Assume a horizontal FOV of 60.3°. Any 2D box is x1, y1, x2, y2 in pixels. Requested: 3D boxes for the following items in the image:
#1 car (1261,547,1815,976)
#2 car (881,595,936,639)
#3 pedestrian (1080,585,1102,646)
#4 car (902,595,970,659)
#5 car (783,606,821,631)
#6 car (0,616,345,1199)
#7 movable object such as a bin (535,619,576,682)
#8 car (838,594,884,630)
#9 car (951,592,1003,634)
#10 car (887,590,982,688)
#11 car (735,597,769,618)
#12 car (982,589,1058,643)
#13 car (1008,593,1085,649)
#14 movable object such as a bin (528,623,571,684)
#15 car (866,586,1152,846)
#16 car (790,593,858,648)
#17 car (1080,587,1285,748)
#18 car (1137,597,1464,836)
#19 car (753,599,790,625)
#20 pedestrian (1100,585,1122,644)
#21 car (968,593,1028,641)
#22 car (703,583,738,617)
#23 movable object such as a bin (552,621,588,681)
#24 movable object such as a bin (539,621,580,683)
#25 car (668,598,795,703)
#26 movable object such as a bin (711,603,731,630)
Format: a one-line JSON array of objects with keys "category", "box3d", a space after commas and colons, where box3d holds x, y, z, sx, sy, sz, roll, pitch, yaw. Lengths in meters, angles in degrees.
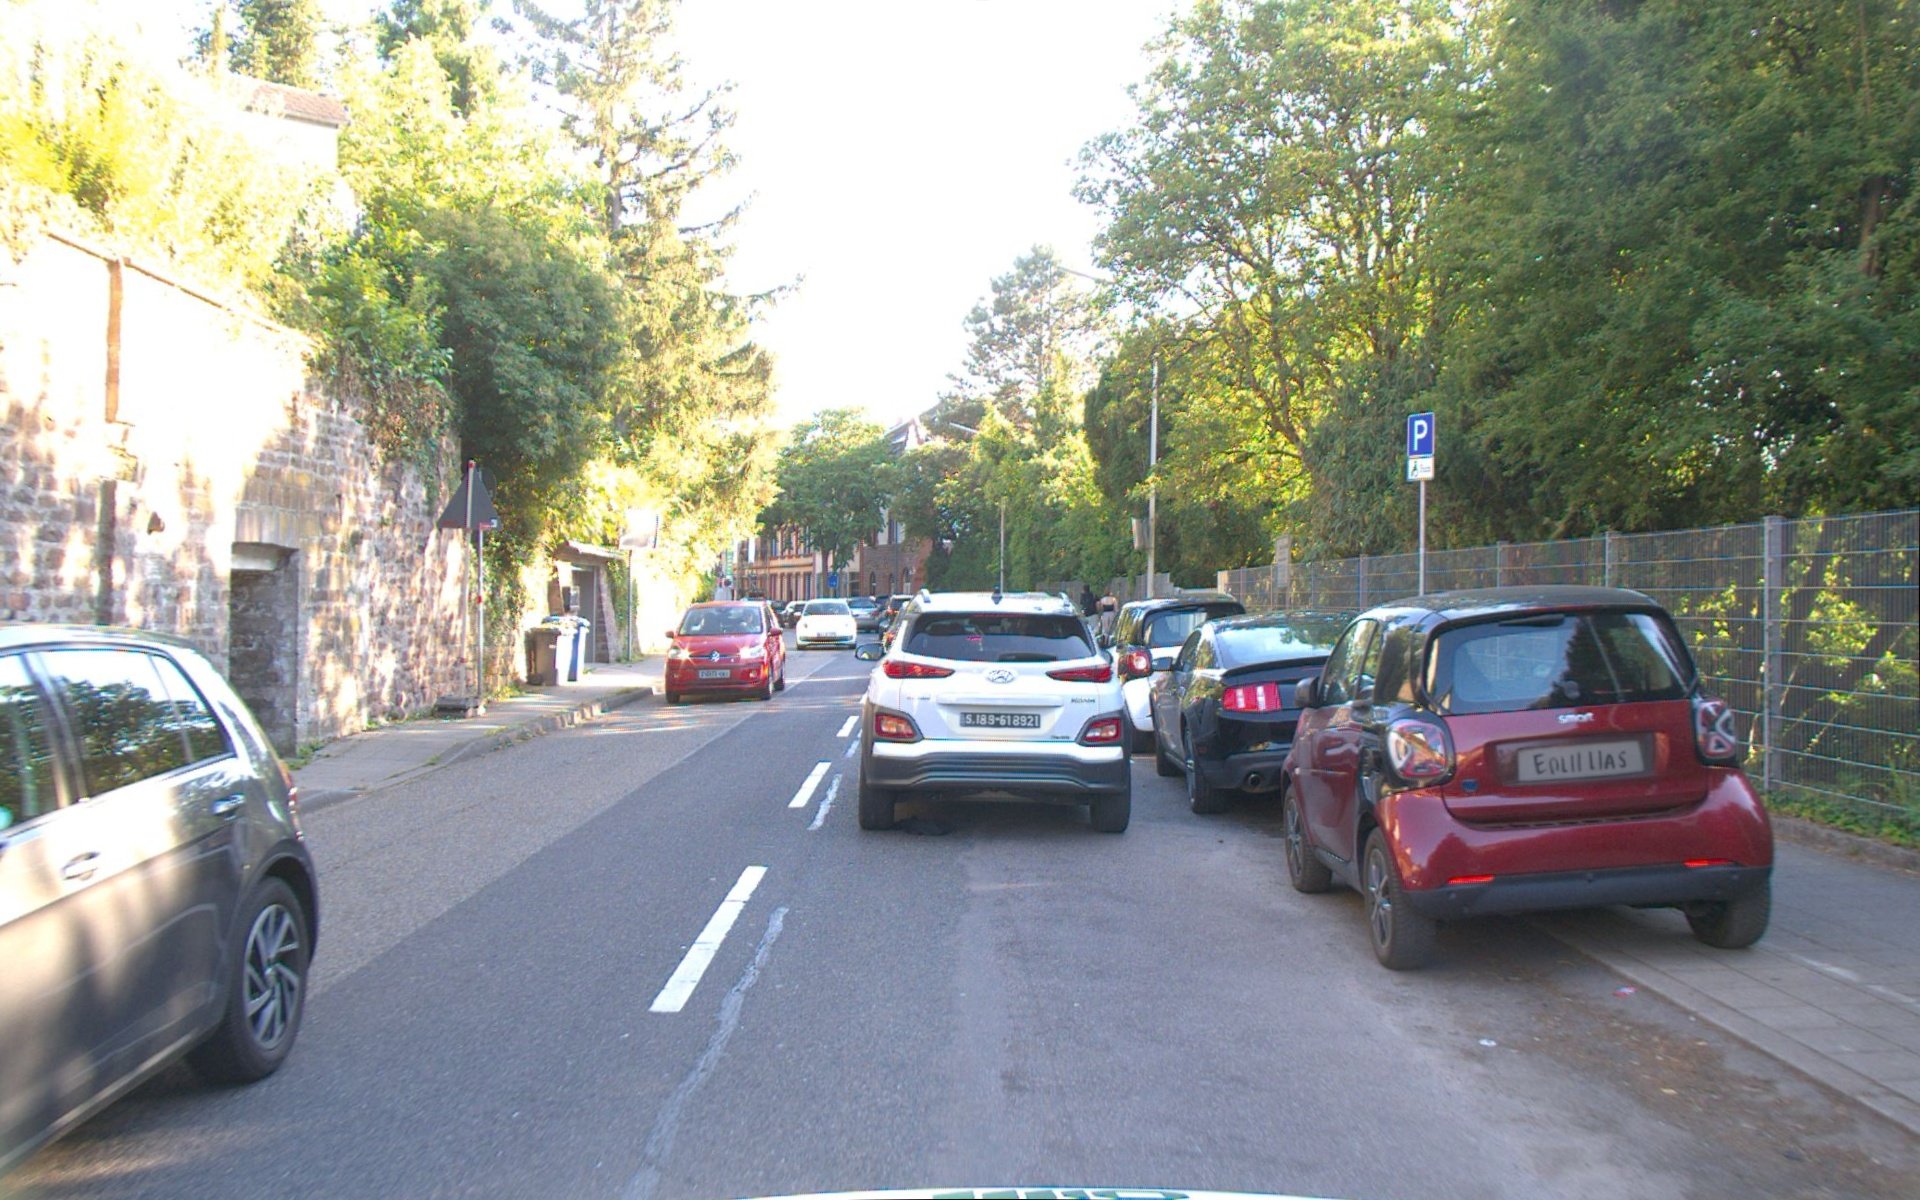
[{"category": "car", "box3d": [2.575, 0.653, 8.060, 1.619, 1.591, 2.872, -4, 0, 1]}, {"category": "car", "box3d": [-1.835, 0.577, 58.235, 1.563, 1.486, 3.092, 0, 0, -10]}, {"category": "pedestrian", "box3d": [3.574, 0.414, 45.165, 0.493, 1.634, 0.491, -2, 0, -1]}, {"category": "car", "box3d": [-0.567, 0.653, 41.383, 1.538, 1.503, 3.548, 1, 0, 1]}, {"category": "car", "box3d": [-8.536, 0.997, 89.153, 1.501, 1.282, 3.347, 0, 0, -15]}, {"category": "car", "box3d": [-2.847, 0.783, 3.642, 1.616, 1.435, 3.929, -1, 0, -2]}, {"category": "movable object such as a bin", "box3d": [-6.591, 0.824, 26.965, 0.562, 1.002, 0.438, 1, -1, -4]}, {"category": "car", "box3d": [-4.500, 0.533, 74.666, 1.562, 1.610, 3.350, 0, 0, -13]}, {"category": "car", "box3d": [0.636, 0.473, 63.126, 1.563, 1.515, 3.598, -2, 0, -6]}, {"category": "car", "box3d": [-0.479, 0.619, 28.169, 1.482, 1.560, 3.545, 0, 0, -3]}, {"category": "car", "box3d": [-13.094, 0.457, 103.924, 1.503, 1.282, 3.343, 0, 0, -18]}, {"category": "car", "box3d": [1.848, 0.490, 52.062, 1.564, 1.592, 3.991, -2, 0, -9]}, {"category": "car", "box3d": [2.392, 0.560, 46.562, 1.653, 1.456, 3.997, -2, 0, -4]}, {"category": "movable object such as a bin", "box3d": [-6.572, 0.849, 26.506, 0.572, 0.954, 0.438, 1, -1, -4]}, {"category": "car", "box3d": [0.286, 0.714, 12.146, 1.736, 1.569, 3.999, 1, 0, -1]}, {"category": "car", "box3d": [-4.092, 0.614, 50.184, 1.706, 1.500, 3.999, -3, 0, -1]}, {"category": "car", "box3d": [2.355, 0.666, 18.128, 1.593, 1.536, 2.900, -2, 1, -5]}, {"category": "car", "box3d": [2.507, 0.766, 13.336, 1.675, 1.524, 4.814, 2, 0, 1]}, {"category": "car", "box3d": [-12.803, 0.815, 112.314, 1.729, 1.645, 3.980, 1, 1, -18]}, {"category": "pedestrian", "box3d": [4.133, 0.399, 45.176, 0.493, 1.596, 0.503, -2, 0, -1]}, {"category": "car", "box3d": [1.278, 0.569, 57.252, 1.563, 1.545, 3.927, -2, 0, -6]}, {"category": "car", "box3d": [-18.946, 0.023, 130.514, 1.900, 2.628, 4.368, -1, 0, -20]}, {"category": "movable object such as a bin", "box3d": [-6.599, 0.855, 28.022, 0.480, 0.981, 0.583, 1, 0, -4]}, {"category": "movable object such as a bin", "box3d": [-6.644, 0.863, 27.451, 0.562, 1.002, 0.438, 1, -1, -4]}, {"category": "car", "box3d": [-3.547, 0.743, 26.178, 1.519, 1.492, 3.568, -2, 0, -1]}, {"category": "movable object such as a bin", "box3d": [-10.726, 0.741, 74.211, 0.776, 1.210, 0.772, 1, -1, -3]}]
